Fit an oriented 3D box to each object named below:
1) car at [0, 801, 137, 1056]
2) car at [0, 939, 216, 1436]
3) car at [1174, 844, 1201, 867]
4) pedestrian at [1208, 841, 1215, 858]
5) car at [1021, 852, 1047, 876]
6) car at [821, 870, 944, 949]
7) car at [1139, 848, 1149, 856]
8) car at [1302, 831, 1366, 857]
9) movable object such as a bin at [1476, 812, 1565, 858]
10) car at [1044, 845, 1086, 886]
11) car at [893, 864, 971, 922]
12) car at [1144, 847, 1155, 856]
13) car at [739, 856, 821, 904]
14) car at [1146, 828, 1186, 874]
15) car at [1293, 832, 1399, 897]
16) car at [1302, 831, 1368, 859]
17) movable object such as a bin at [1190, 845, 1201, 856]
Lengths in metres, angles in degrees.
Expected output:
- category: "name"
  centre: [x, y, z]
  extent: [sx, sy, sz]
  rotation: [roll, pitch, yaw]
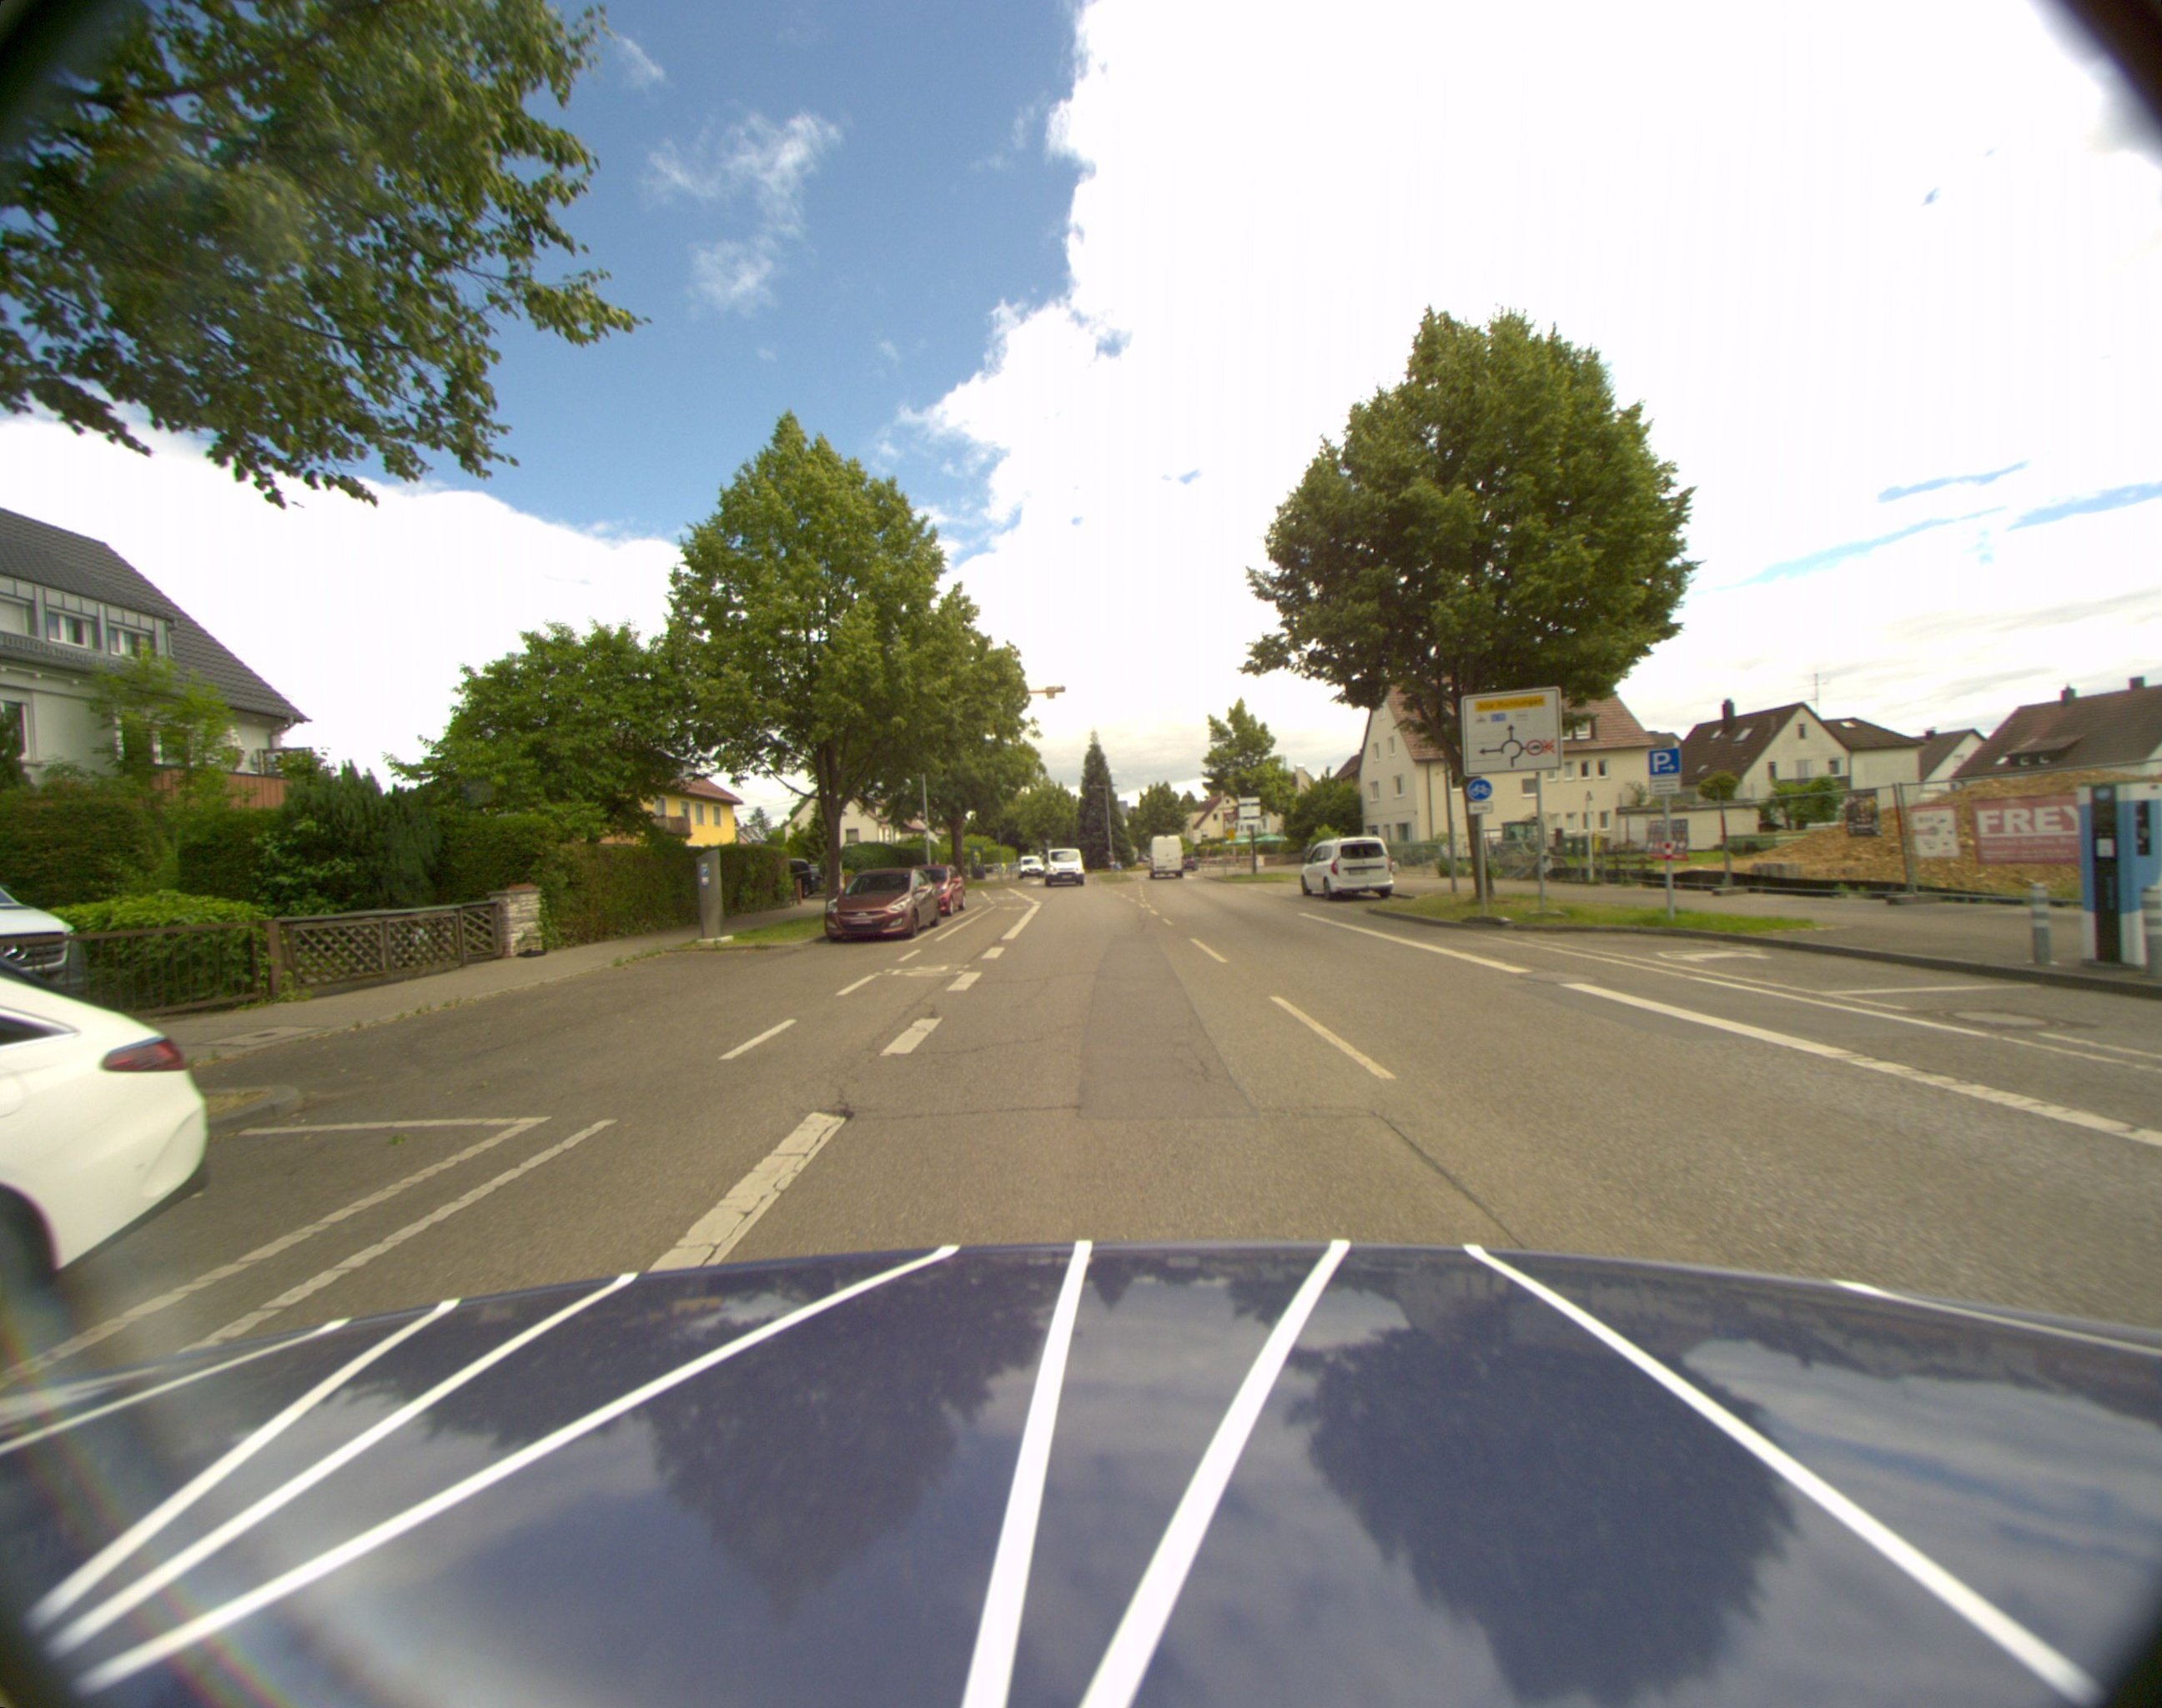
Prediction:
- category: "car"
  centre: [-13.805, 0.881, 7.606]
  extent: [5.730, 2.576, 1.997]
  rotation: [-3, 0, -4]
- category: "car"
  centre: [-4.218, 1.116, 0.491]
  extent: [1.810, 1.466, 4.811]
  rotation: [-3, 0, -2]
- category: "car"
  centre: [8.801, 0.092, 63.009]
  extent: [1.925, 1.744, 4.001]
  rotation: [-3, 0, 6]
- category: "pedestrian"
  centre: [14.426, -0.514, 83.821]
  extent: [0.637, 1.816, 0.567]
  rotation: [-4, 1, 9]
- category: "car"
  centre: [-3.710, 0.781, 60.491]
  extent: [1.927, 1.744, 3.999]
  rotation: [-3, 0, -3]
- category: "car"
  centre: [-4.256, 1.132, 16.932]
  extent: [1.657, 1.407, 4.176]
  rotation: [-2, 0, -1]
- category: "car"
  centre: [12.097, -0.419, 146.276]
  extent: [1.665, 1.466, 3.746]
  rotation: [-3, 0, 0]
- category: "car"
  centre: [18.195, -0.724, 54.816]
  extent: [3.928, 1.527, 1.819]
  rotation: [-4, 2, 0]
- category: "movable object such as a bin"
  centre: [22.820, -0.965, 39.659]
  extent: [1.901, 2.175, 4.361]
  rotation: [-3, 1, -2]
- category: "car"
  centre: [-0.955, 0.594, 41.646]
  extent: [1.999, 2.002, 5.048]
  rotation: [-3, 0, -3]
- category: "car"
  centre: [-4.401, 1.113, 22.951]
  extent: [1.569, 1.447, 3.668]
  rotation: [-3, 1, 0]
- category: "car"
  centre: [12.469, -0.463, 139.003]
  extent: [1.665, 1.466, 3.746]
  rotation: [-3, 0, 0]
- category: "car"
  centre: [-13.542, 1.112, 34.515]
  extent: [1.820, 1.870, 4.467]
  rotation: [-4, 0, -1]
- category: "car"
  centre: [5.366, -0.183, 48.666]
  extent: [2.024, 2.658, 5.806]
  rotation: [-3, 0, 2]
- category: "car"
  centre: [8.129, 0.276, 23.737]
  extent: [1.774, 1.760, 4.551]
  rotation: [-3, 0, 2]
- category: "car"
  centre: [17.554, -0.637, 52.610]
  extent: [3.927, 1.653, 1.855]
  rotation: [-4, 2, 5]
- category: "movable object such as a bin"
  centre: [14.795, -0.428, 97.939]
  extent: [0.984, 1.408, 2.722]
  rotation: [-3, 0, 1]
